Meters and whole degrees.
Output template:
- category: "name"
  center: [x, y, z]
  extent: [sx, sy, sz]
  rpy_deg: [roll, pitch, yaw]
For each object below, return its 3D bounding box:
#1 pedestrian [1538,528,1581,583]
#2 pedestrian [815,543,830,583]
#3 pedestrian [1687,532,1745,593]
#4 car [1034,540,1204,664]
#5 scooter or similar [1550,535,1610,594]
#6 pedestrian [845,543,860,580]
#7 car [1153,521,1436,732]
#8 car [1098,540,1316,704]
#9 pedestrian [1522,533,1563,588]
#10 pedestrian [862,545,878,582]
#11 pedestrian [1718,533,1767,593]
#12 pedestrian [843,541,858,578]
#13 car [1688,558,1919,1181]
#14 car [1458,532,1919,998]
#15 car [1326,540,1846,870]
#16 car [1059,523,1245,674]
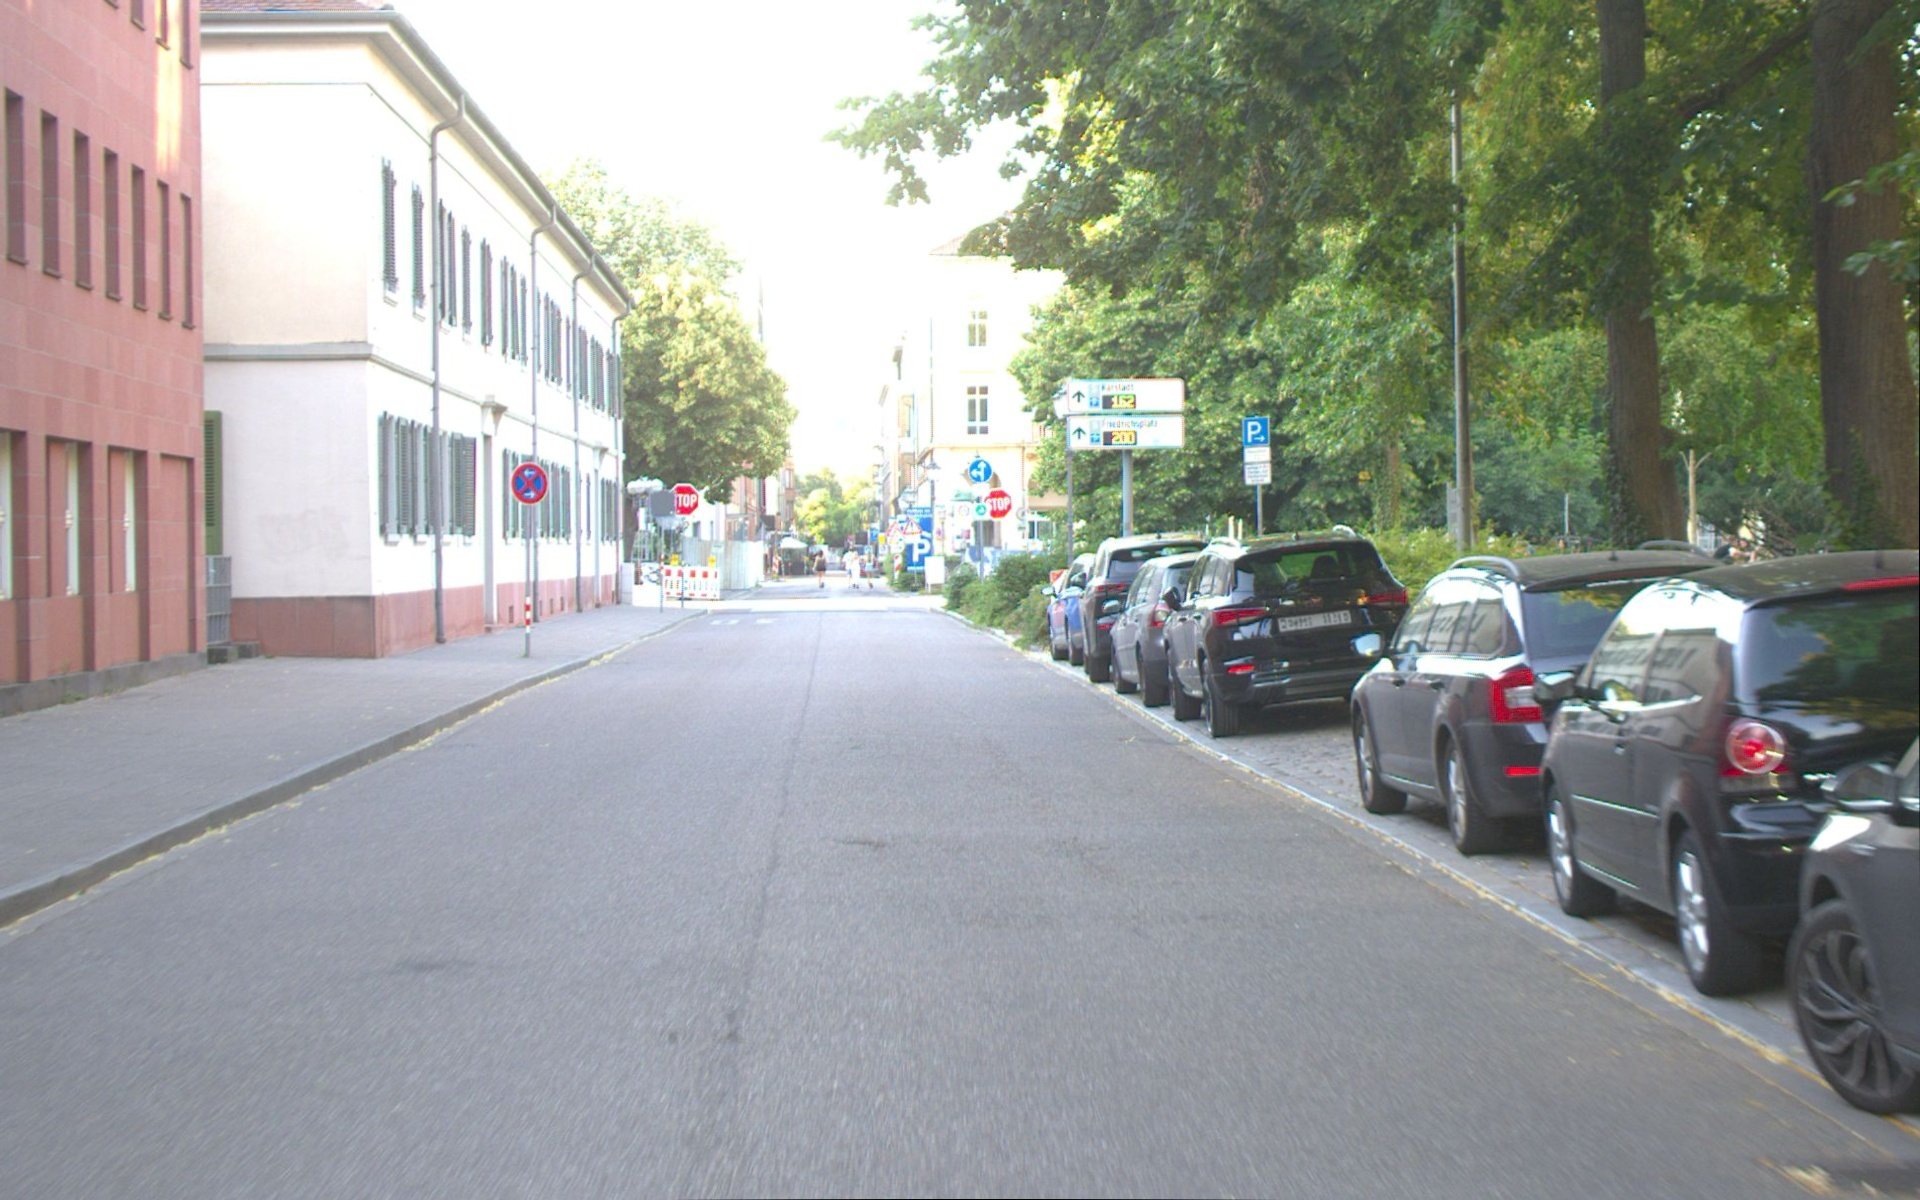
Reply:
- category: "pedestrian"
  center: [13.137, -0.975, 75.386]
  extent: [0.807, 1.187, 0.789]
  rpy_deg: [-1, 1, 1]
- category: "pedestrian"
  center: [-6.122, -1.643, 153.181]
  extent: [0.657, 1.754, 0.745]
  rpy_deg: [-1, 1, -1]
- category: "pedestrian"
  center: [16.950, -0.849, 77.104]
  extent: [0.916, 1.343, 0.885]
  rpy_deg: [-1, 1, -17]
- category: "car"
  center: [2.114, -0.005, 46.782]
  extent: [1.724, 1.483, 4.611]
  rpy_deg: [-4, 1, -3]
- category: "scooter or similar"
  center: [13.434, -0.770, 74.505]
  extent: [1.216, 1.241, 0.418]
  rpy_deg: [-1, 0, -18]
- category: "pedestrian"
  center: [-4.723, -1.681, 151.223]
  extent: [0.657, 1.611, 0.745]
  rpy_deg: [-1, 1, -2]
- category: "car"
  center: [2.796, 0.206, 29.682]
  extent: [1.807, 1.646, 4.419]
  rpy_deg: [-1, 0, -2]
- category: "car"
  center: [2.456, 0.205, 35.053]
  extent: [1.724, 1.533, 4.190]
  rpy_deg: [-1, 0, -2]
- category: "pedestrian"
  center: [12.620, -0.858, 74.465]
  extent: [0.663, 1.187, 0.794]
  rpy_deg: [-1, 1, 26]
- category: "pedestrian"
  center: [-3.965, -1.596, 151.240]
  extent: [0.657, 1.611, 0.745]
  rpy_deg: [-1, 1, -2]
- category: "pedestrian"
  center: [17.679, -0.833, 77.694]
  extent: [0.758, 1.343, 0.788]
  rpy_deg: [-1, 1, -18]
- category: "pedestrian"
  center: [-4.884, -1.823, 153.123]
  extent: [0.657, 1.630, 0.745]
  rpy_deg: [-1, 1, -2]
- category: "car"
  center: [3.229, 0.625, 8.141]
  extent: [1.724, 1.528, 4.623]
  rpy_deg: [-5, 0, -2]
- category: "car"
  center: [3.220, 0.529, 13.507]
  extent: [1.724, 1.528, 4.190]
  rpy_deg: [-1, 0, -2]
- category: "car"
  center: [3.158, 0.481, 18.264]
  extent: [1.734, 1.501, 4.522]
  rpy_deg: [-1, 0, -2]
- category: "car"
  center: [2.211, -0.022, 40.717]
  extent: [1.724, 1.646, 4.713]
  rpy_deg: [-1, 0, -2]
